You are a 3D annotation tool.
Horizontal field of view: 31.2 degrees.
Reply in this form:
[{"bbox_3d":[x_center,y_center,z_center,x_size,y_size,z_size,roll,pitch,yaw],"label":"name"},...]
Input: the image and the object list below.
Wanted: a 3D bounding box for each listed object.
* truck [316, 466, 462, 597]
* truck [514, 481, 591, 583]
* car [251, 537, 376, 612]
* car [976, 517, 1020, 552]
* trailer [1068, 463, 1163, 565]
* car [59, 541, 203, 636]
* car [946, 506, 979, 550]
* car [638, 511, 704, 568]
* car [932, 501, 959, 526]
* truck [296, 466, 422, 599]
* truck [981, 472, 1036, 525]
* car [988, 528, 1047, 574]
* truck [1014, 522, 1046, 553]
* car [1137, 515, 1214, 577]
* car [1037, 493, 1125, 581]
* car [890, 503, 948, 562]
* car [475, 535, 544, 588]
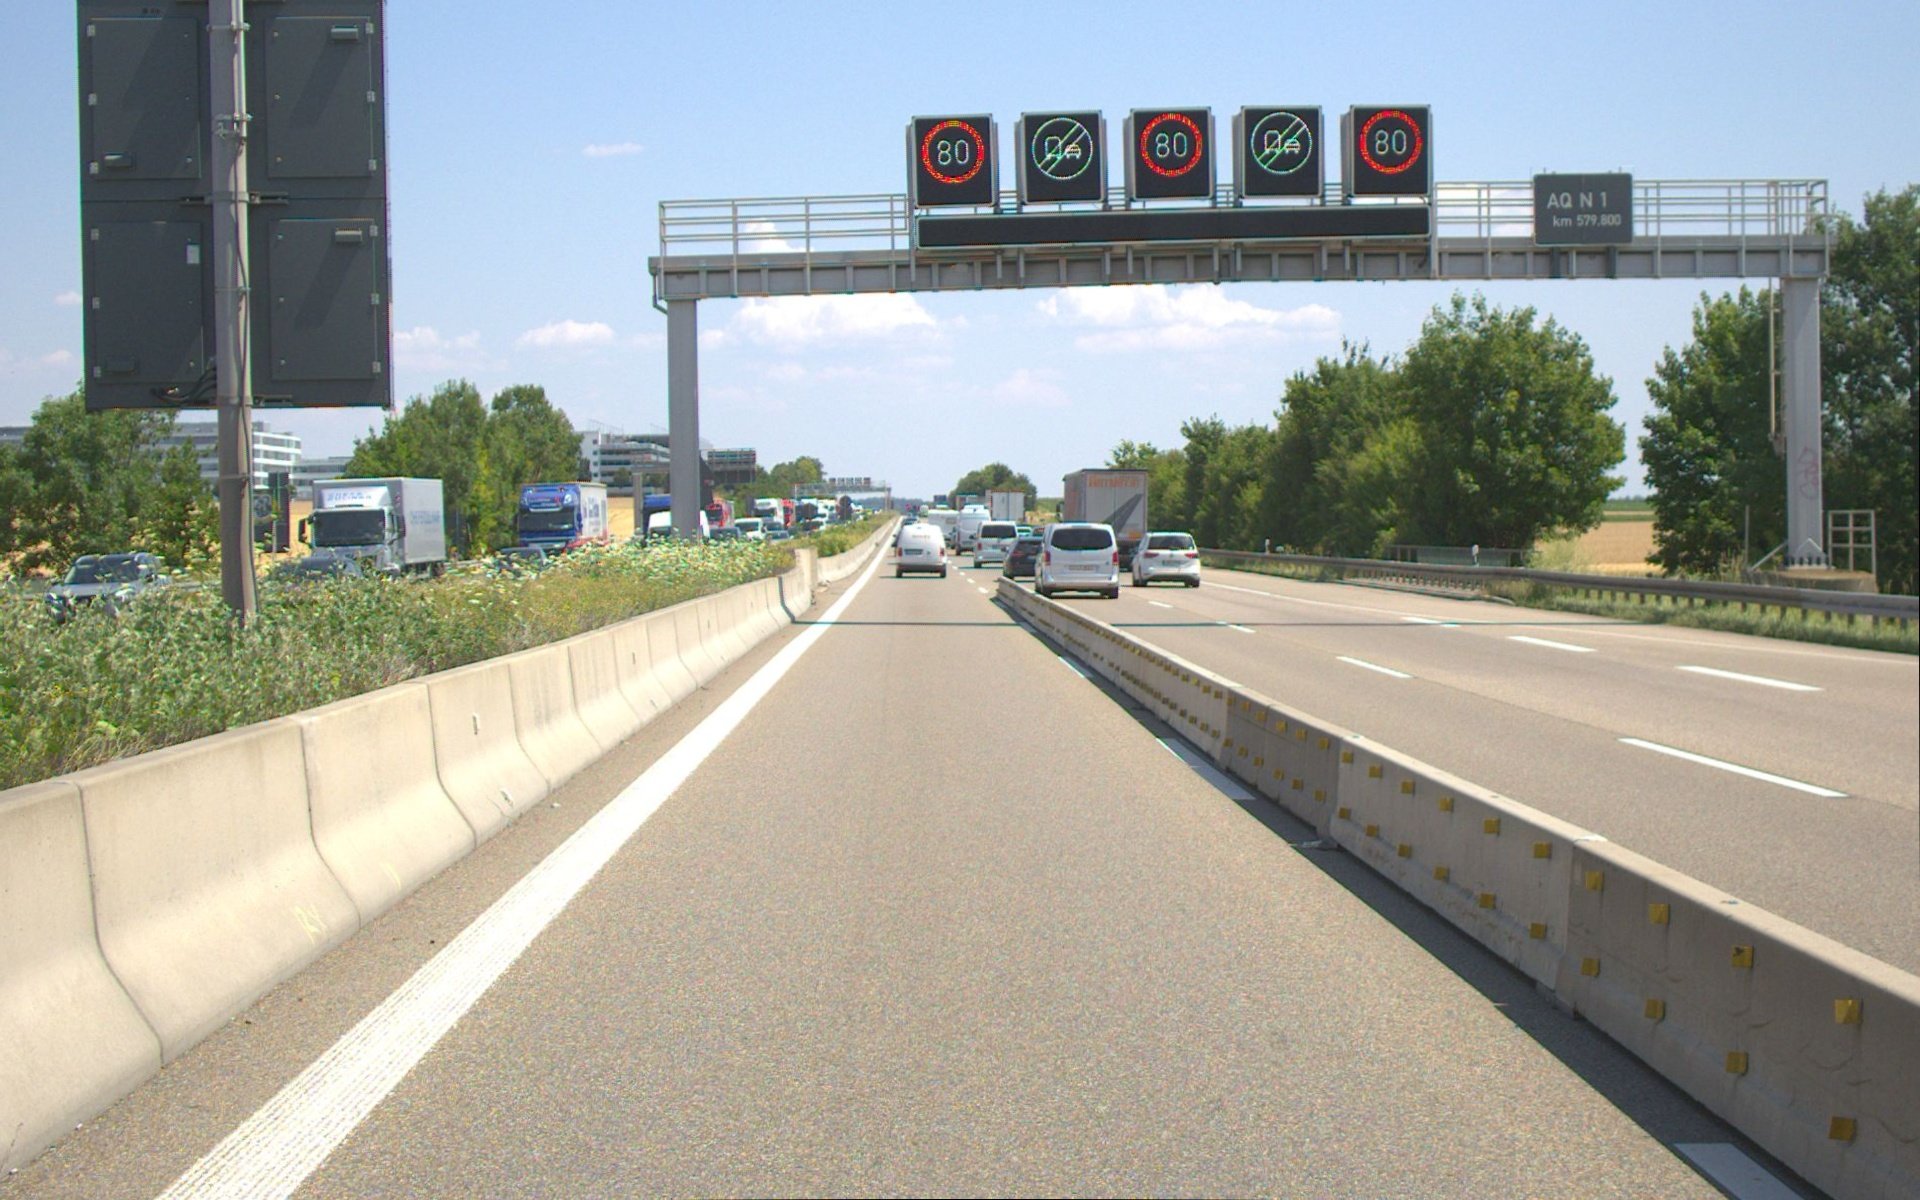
[{"bbox_3d":[-16.883,-2.049,102.218,2.699,3.608,8.787,-2,1,0],"label":"truck"},{"bbox_3d":[-17.695,-2.964,149.511,2.592,4.224,4.855,-3,1,-1],"label":"truck"},{"bbox_3d":[-12.675,-0.530,67.593,1.832,1.319,4.282,-2,2,-3],"label":"car"},{"bbox_3d":[1.600,-2.787,146.431,1.773,1.442,4.000,0,0,-1],"label":"car"},{"bbox_3d":[6.216,-3.418,139.078,3.277,3.953,9.113,0,0,-1],"label":"trailer"},{"bbox_3d":[-16.112,-0.252,67.028,1.832,1.713,4.081,-2,1,-1],"label":"car"},{"bbox_3d":[0.149,-3.998,192.304,1.773,2.384,4.000,0,0,-1],"label":"car"},{"bbox_3d":[-10.203,-2.158,121.579,1.993,1.939,4.795,-1,1,-1],"label":"car"},{"bbox_3d":[-1.095,-6.509,258.407,1.993,1.829,4.000,0,1,-1],"label":"car"},{"bbox_3d":[-16.917,-1.913,96.951,2.698,3.575,4.000,-2,1,0],"label":"truck"},{"bbox_3d":[3.698,-7.724,263.519,3.815,3.891,9.581,-1,1,-1],"label":"truck"},{"bbox_3d":[1.855,-1.577,111.747,1.773,1.442,4.000,0,0,-1],"label":"car"},{"bbox_3d":[4.671,-4.199,230.687,1.993,2.007,4.000,-1,1,-1],"label":"truck"},{"bbox_3d":[6.392,-1.598,102.291,1.993,1.788,4.000,0,0,-1],"label":"car"},{"bbox_3d":[2.974,-1.548,85.273,1.993,2.112,4.000,0,0,-1],"label":"car"},{"bbox_3d":[-1.425,-2.332,119.726,1.993,2.007,4.000,0,0,-1],"label":"car"},{"bbox_3d":[-12.968,-1.119,99.035,1.559,1.437,3.838,-1,1,-2],"label":"car"}]
